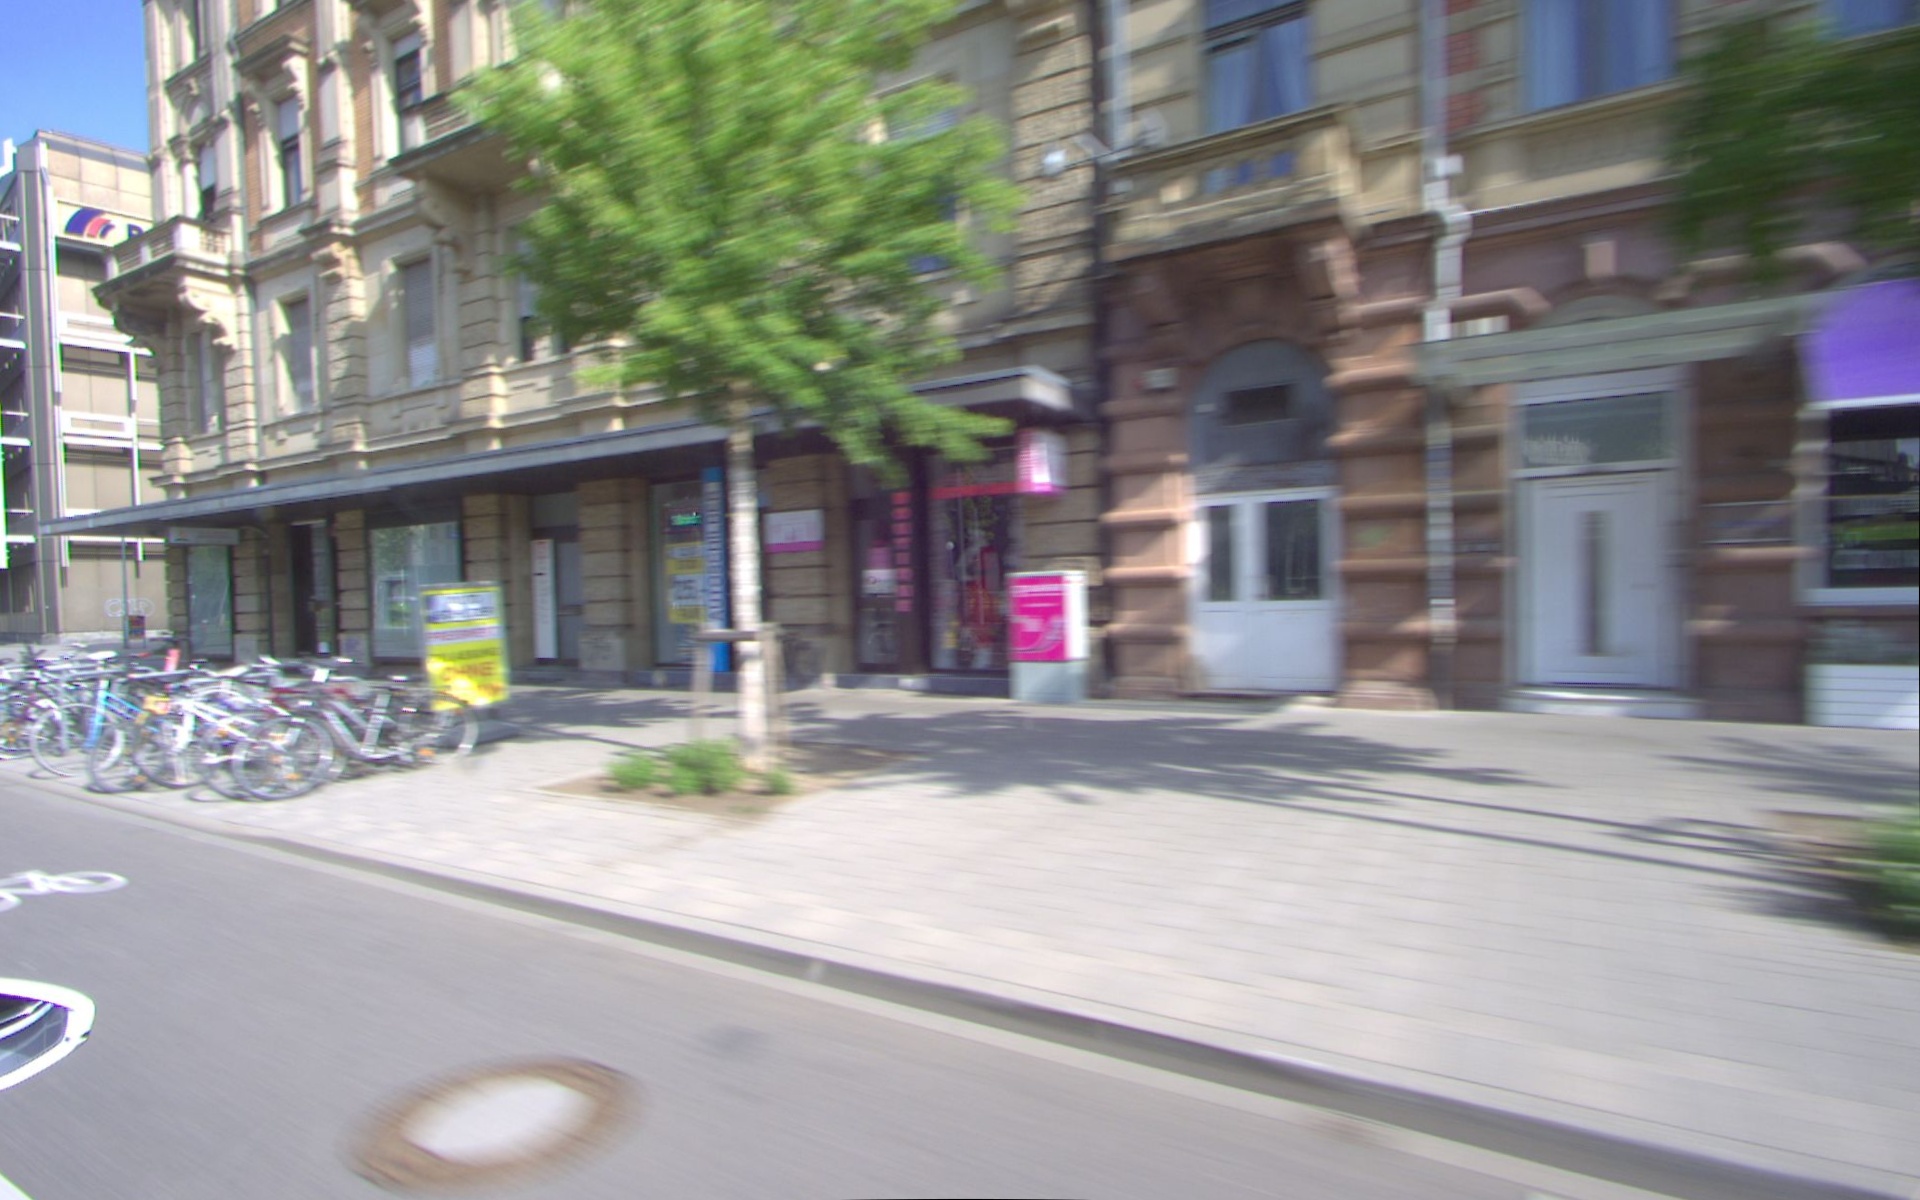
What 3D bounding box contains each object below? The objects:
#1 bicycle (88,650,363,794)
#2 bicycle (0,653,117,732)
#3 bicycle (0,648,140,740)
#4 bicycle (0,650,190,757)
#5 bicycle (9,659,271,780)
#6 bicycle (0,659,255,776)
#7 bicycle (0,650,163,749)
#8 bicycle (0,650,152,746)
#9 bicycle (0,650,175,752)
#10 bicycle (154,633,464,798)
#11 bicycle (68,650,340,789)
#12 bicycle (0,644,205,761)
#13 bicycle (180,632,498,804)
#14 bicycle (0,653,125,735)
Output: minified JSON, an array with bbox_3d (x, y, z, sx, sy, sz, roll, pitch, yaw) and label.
[{"bbox_3d":[-6.562,1.038,9.077,0.464,1.000,1.929,0,3,32],"label":"bicycle"},{"bbox_3d":[-12.022,1.204,12.749,0.423,0.875,1.880,0,3,34],"label":"bicycle"},{"bbox_3d":[-11.161,1.137,12.042,0.423,0.959,1.928,0,3,34],"label":"bicycle"},{"bbox_3d":[-9.742,1.112,11.018,0.434,0.959,1.928,0,3,34],"label":"bicycle"},{"bbox_3d":[-8.005,1.125,9.890,0.434,0.886,1.929,0,3,32],"label":"bicycle"},{"bbox_3d":[-8.362,1.137,10.146,0.434,0.886,1.929,0,3,32],"label":"bicycle"},{"bbox_3d":[-10.440,1.136,11.507,0.423,0.959,1.928,0,3,34],"label":"bicycle"},{"bbox_3d":[-10.790,1.148,11.771,0.423,0.959,1.928,0,3,34],"label":"bicycle"},{"bbox_3d":[-10.131,1.125,11.288,0.434,0.959,1.928,0,3,34],"label":"bicycle"},{"bbox_3d":[-5.608,0.928,8.825,0.511,1.119,2.233,0,3,32],"label":"bicycle"},{"bbox_3d":[-6.955,1.051,9.342,0.464,1.000,1.950,0,3,32],"label":"bicycle"},{"bbox_3d":[-9.375,1.067,10.758,0.434,1.027,1.928,0,3,34],"label":"bicycle"},{"bbox_3d":[-5.158,0.914,8.526,0.580,1.119,2.233,0,3,32],"label":"bicycle"},{"bbox_3d":[-11.677,1.191,12.477,0.423,0.875,1.880,0,3,34],"label":"bicycle"}]
